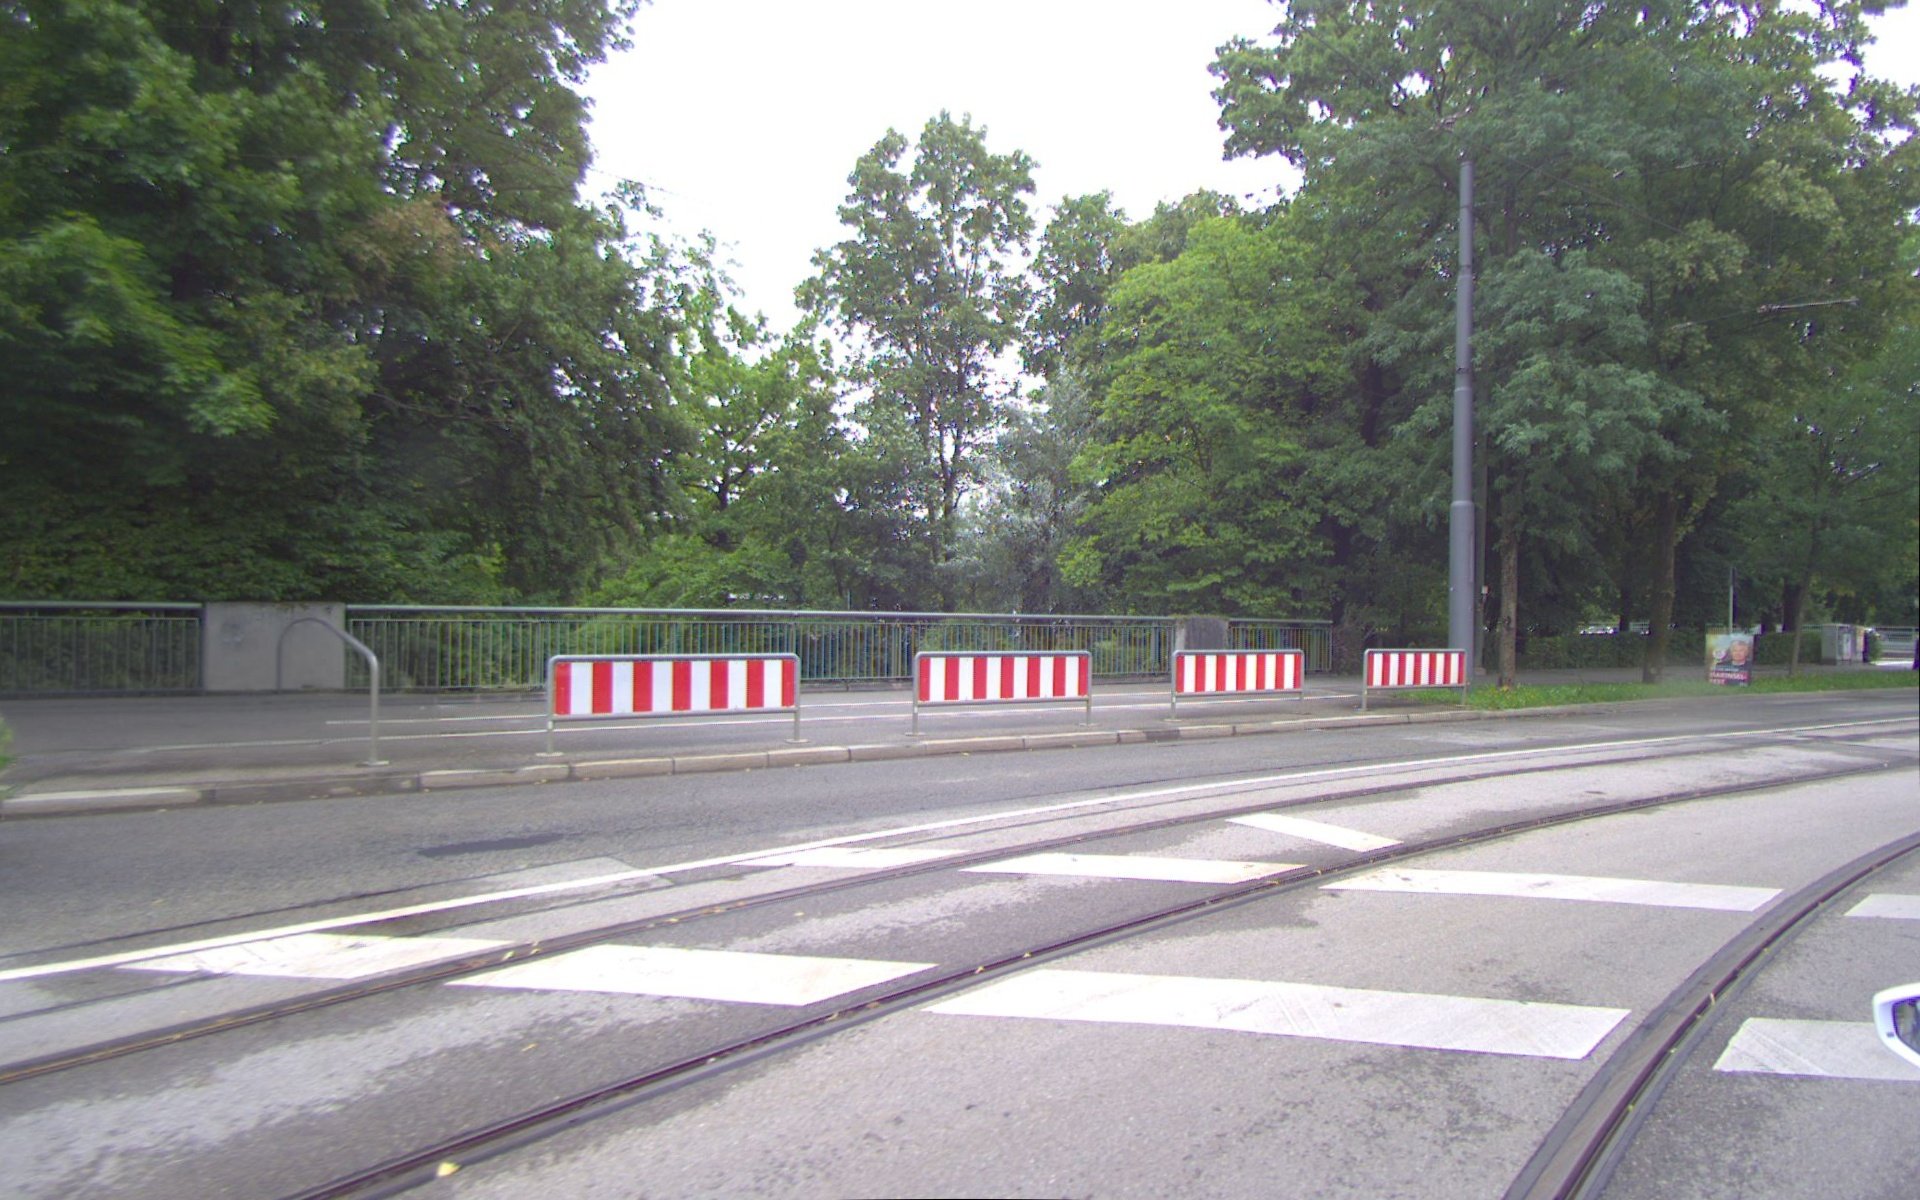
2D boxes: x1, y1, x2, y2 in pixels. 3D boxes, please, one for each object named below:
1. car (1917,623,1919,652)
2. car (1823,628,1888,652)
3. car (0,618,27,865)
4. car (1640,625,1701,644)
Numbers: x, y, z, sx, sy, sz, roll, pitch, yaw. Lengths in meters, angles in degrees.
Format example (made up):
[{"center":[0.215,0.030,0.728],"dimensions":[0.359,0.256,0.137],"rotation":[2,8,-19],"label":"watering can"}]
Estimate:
[{"center":[65.049,2.577,65.164],"dimensions":[1.476,1.912,3.995],"rotation":[2,1,-35],"label":"car"},{"center":[62.081,2.755,69.676],"dimensions":[1.237,1.471,3.091],"rotation":[2,1,-33],"label":"car"},{"center":[-7.301,0.754,4.153],"dimensions":[4.788,1.407,1.614],"rotation":[1,-2,-33],"label":"car"},{"center":[55.920,2.705,79.151],"dimensions":[1.237,1.201,3.705],"rotation":[2,1,-33],"label":"car"}]
